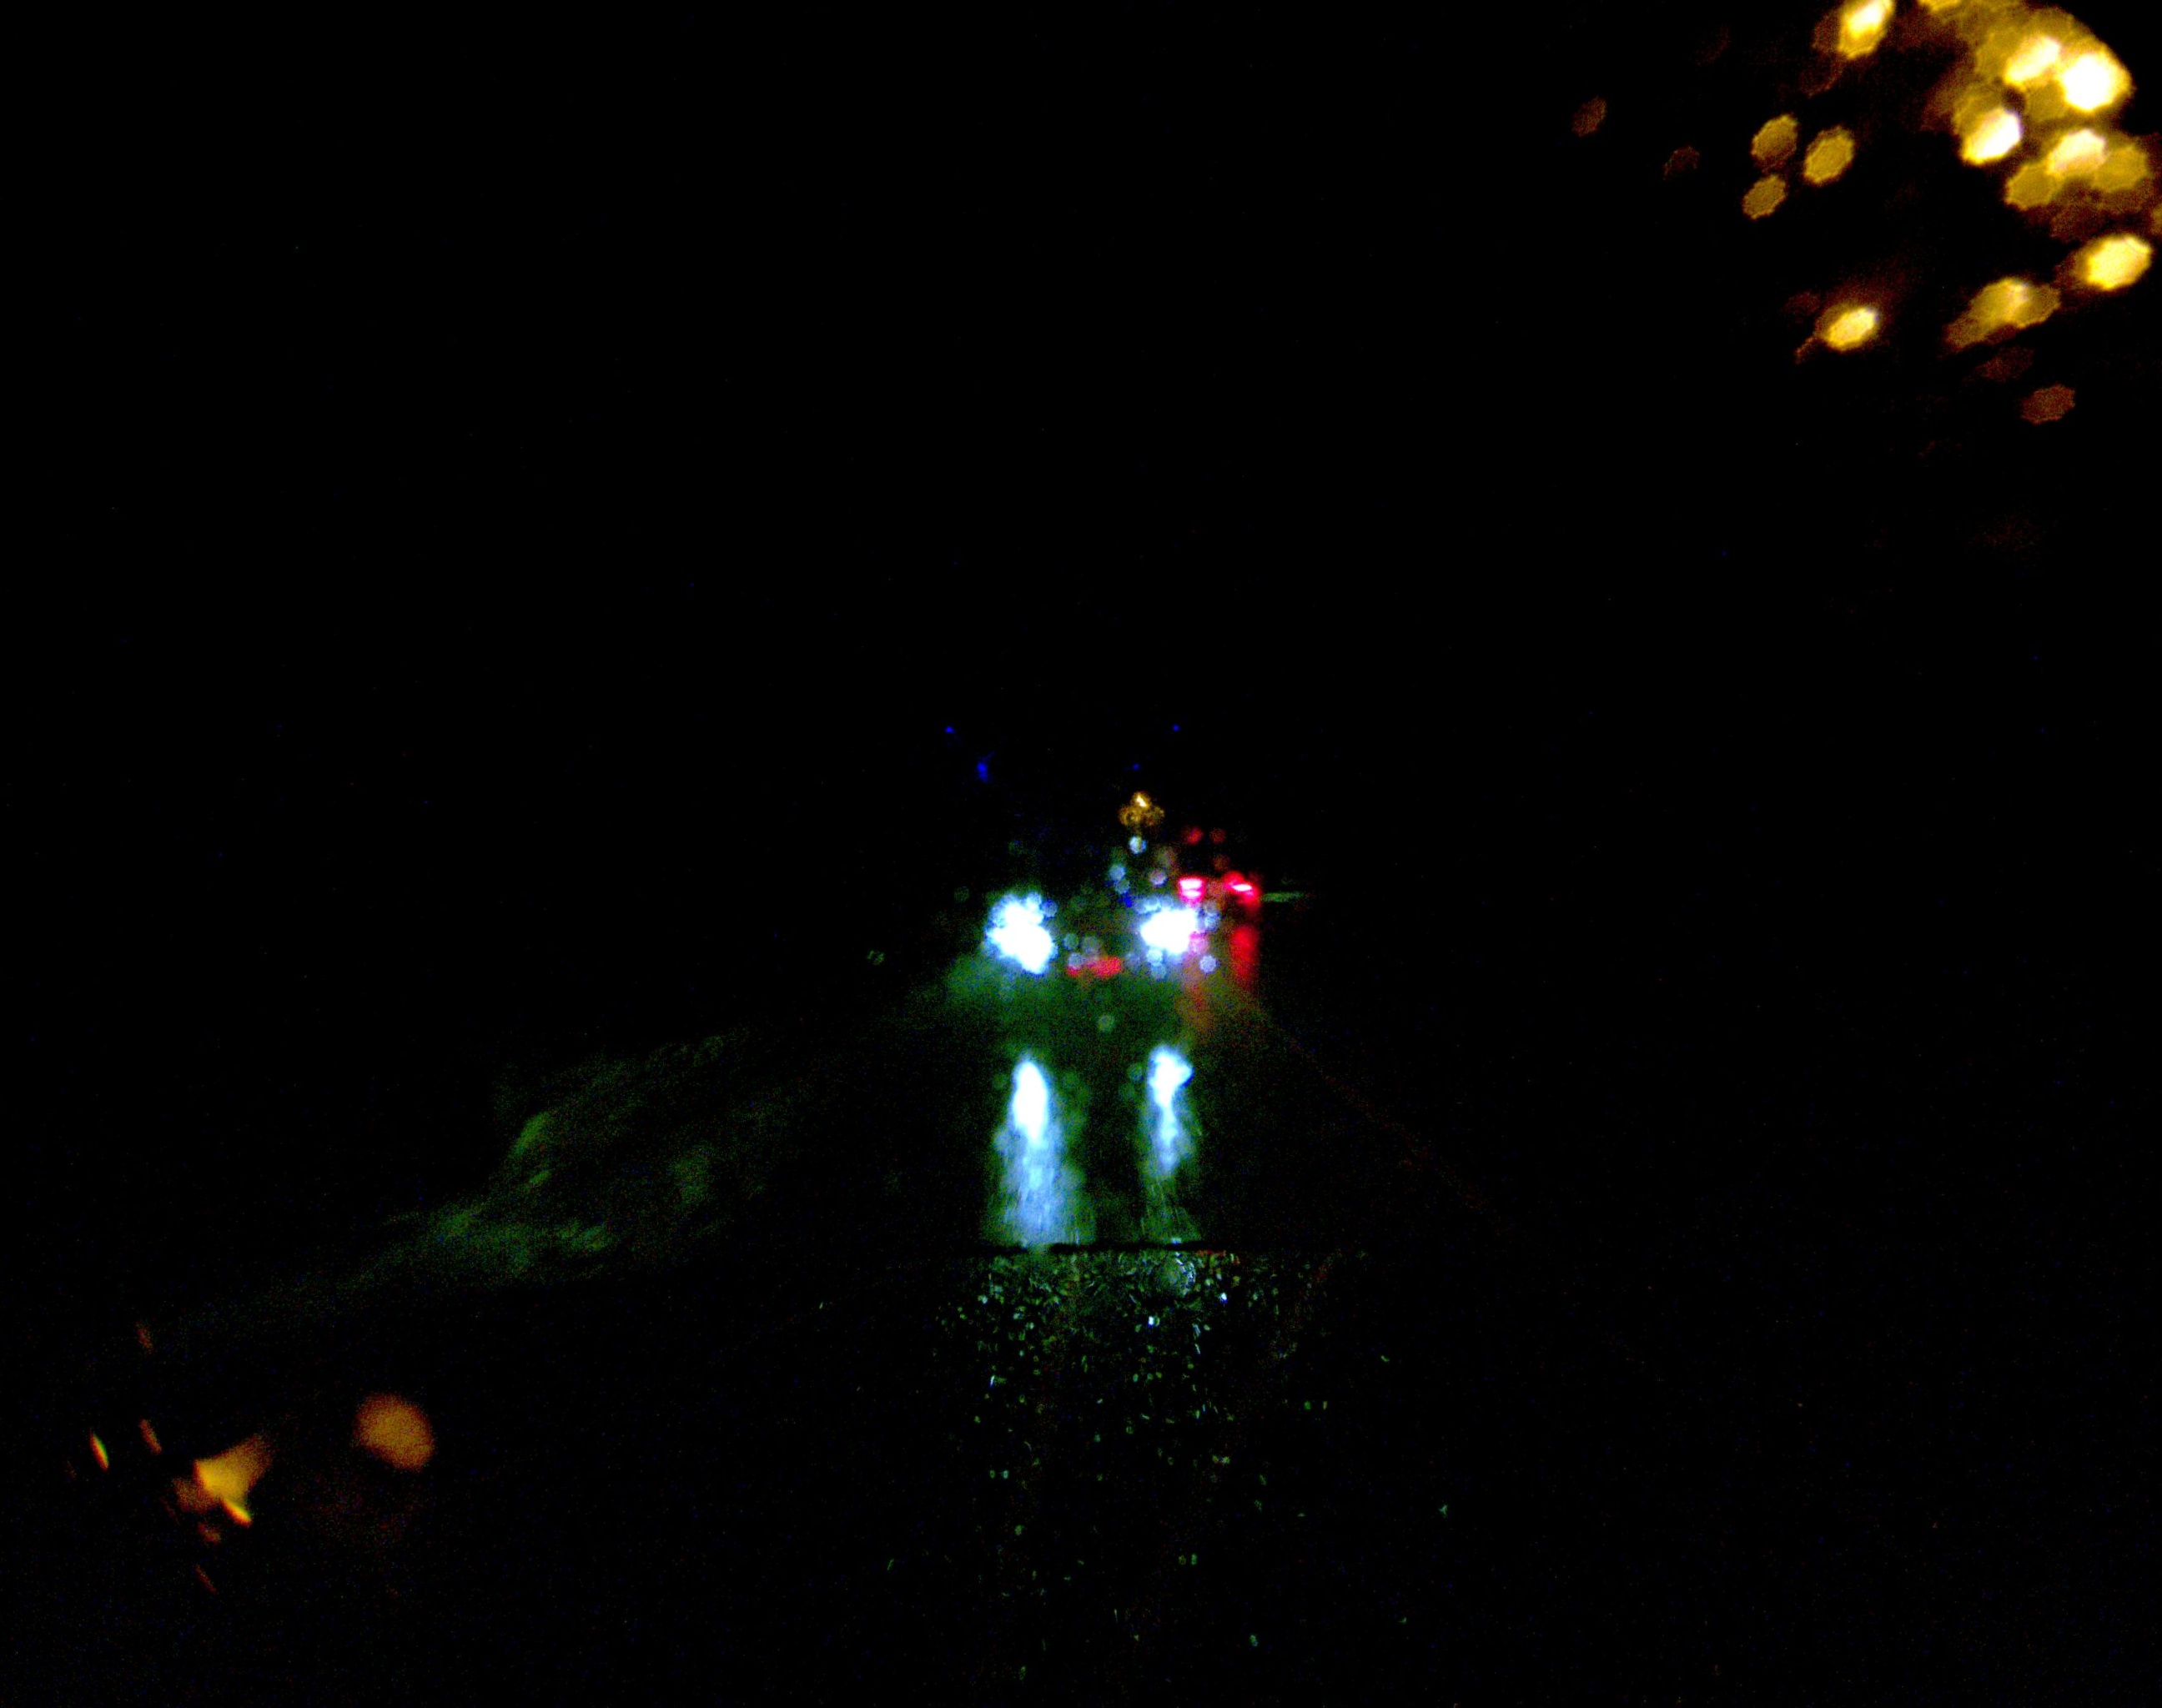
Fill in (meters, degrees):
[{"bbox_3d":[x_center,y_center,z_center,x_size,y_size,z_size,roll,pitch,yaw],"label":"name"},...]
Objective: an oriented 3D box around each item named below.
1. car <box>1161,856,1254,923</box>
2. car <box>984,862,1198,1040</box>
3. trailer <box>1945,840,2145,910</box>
[{"bbox_3d":[3.204,0.880,20.047,1.878,1.536,4.357,1,-1,2],"label":"car"},{"bbox_3d":[0.177,0.924,9.418,1.944,1.580,4.776,-1,0,2],"label":"car"},{"bbox_3d":[33.922,0.685,26.904,3.801,2.206,1.976,2,3,19],"label":"trailer"}]
